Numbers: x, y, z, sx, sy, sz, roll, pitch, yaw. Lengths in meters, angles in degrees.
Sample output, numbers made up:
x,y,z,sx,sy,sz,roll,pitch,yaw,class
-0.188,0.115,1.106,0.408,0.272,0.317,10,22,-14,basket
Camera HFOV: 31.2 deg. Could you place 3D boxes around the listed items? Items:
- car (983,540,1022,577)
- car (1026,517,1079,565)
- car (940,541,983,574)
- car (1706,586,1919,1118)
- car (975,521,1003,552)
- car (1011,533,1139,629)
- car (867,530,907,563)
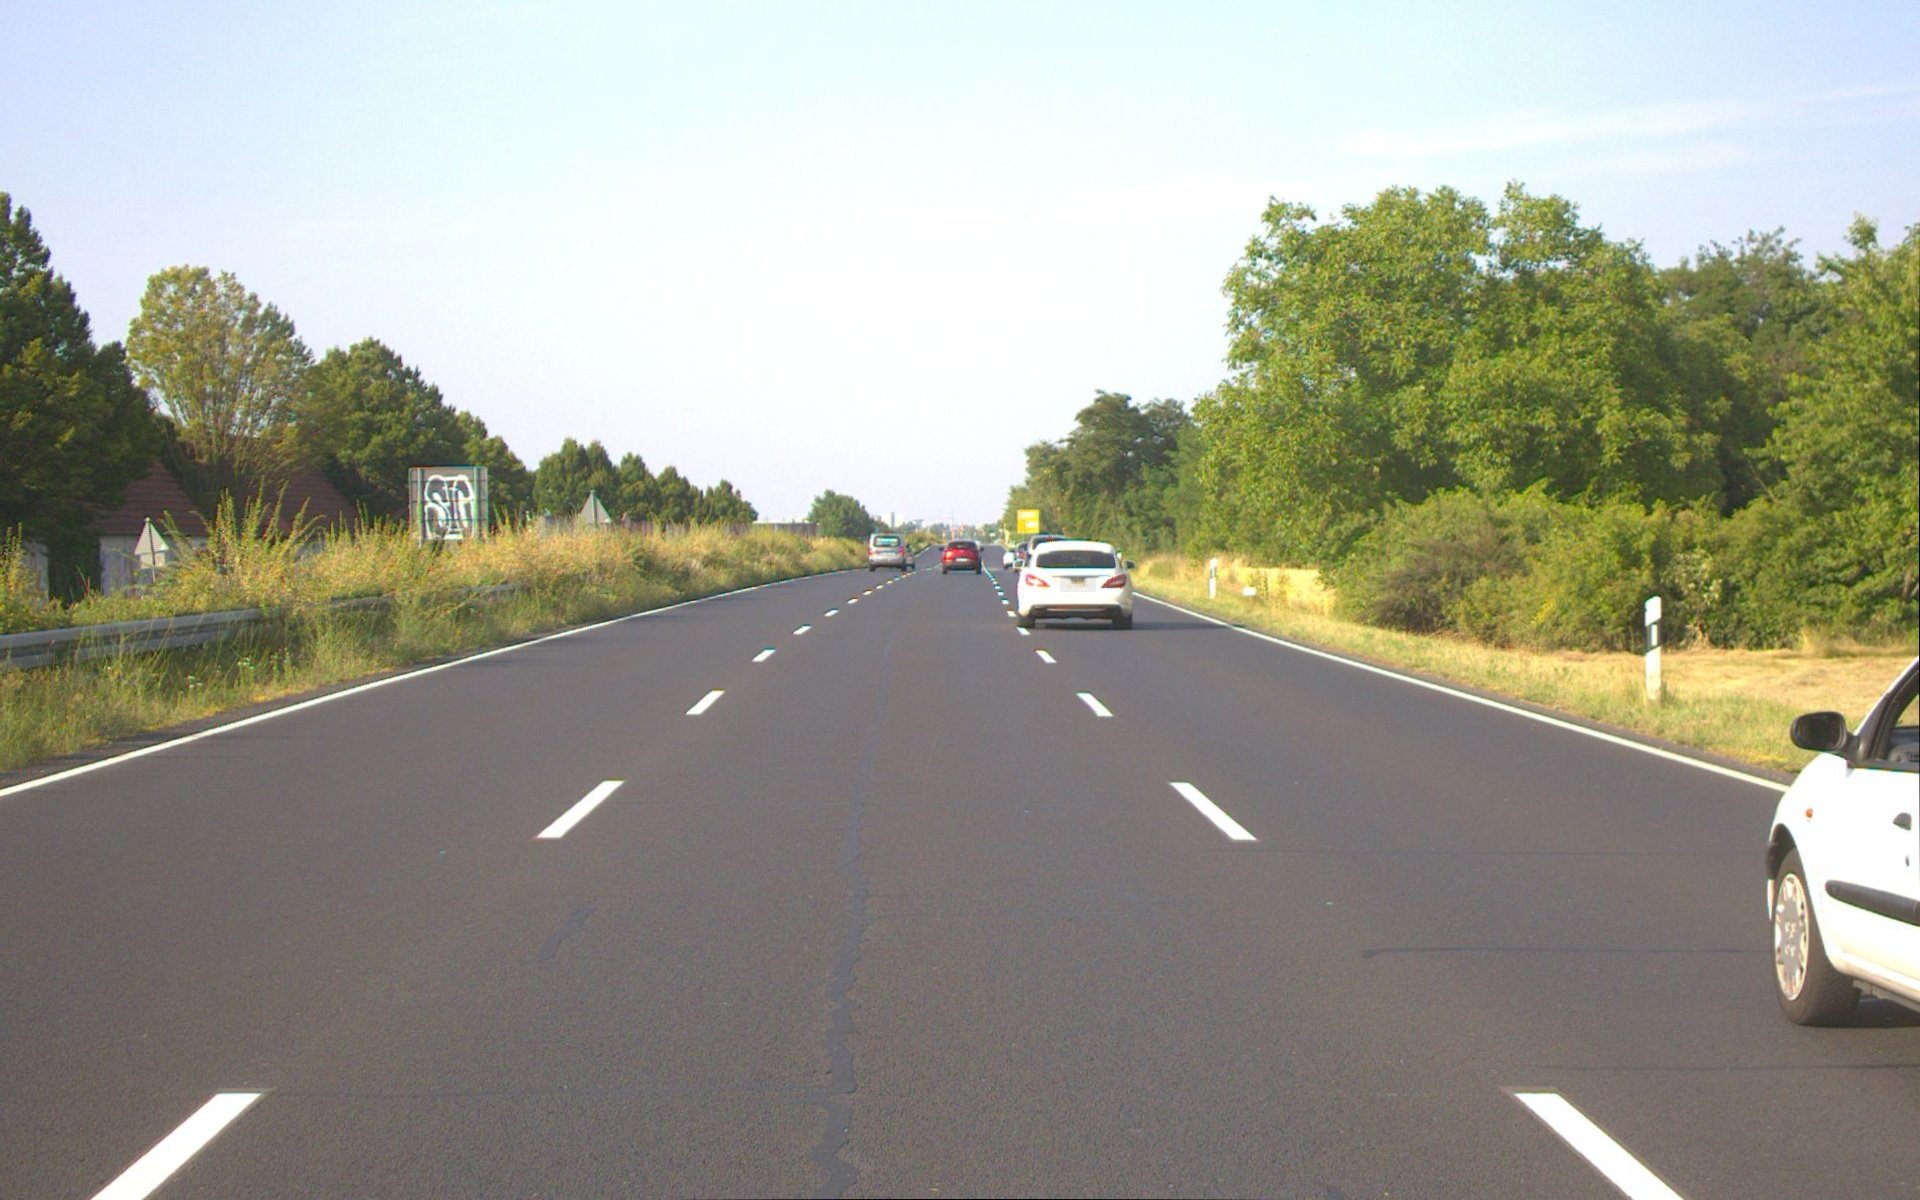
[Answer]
x,y,z,sx,sy,sz,roll,pitch,yaw,class
2.044,-1.974,165.070,1.834,1.711,3.862,1,0,0,car
3.407,-2.188,127.566,1.828,1.722,4.000,1,0,0,car
0.055,-1.881,152.899,1.812,1.431,3.858,1,0,-1,car
3.311,0.662,9.474,1.617,1.382,3.951,1,0,0,car
1.900,-4.130,223.955,1.803,1.897,3.559,1,0,1,car
1.875,-0.315,57.178,1.993,1.511,4.000,1,0,0,car
-3.677,-2.688,173.510,1.758,1.612,4.000,1,0,2,car
